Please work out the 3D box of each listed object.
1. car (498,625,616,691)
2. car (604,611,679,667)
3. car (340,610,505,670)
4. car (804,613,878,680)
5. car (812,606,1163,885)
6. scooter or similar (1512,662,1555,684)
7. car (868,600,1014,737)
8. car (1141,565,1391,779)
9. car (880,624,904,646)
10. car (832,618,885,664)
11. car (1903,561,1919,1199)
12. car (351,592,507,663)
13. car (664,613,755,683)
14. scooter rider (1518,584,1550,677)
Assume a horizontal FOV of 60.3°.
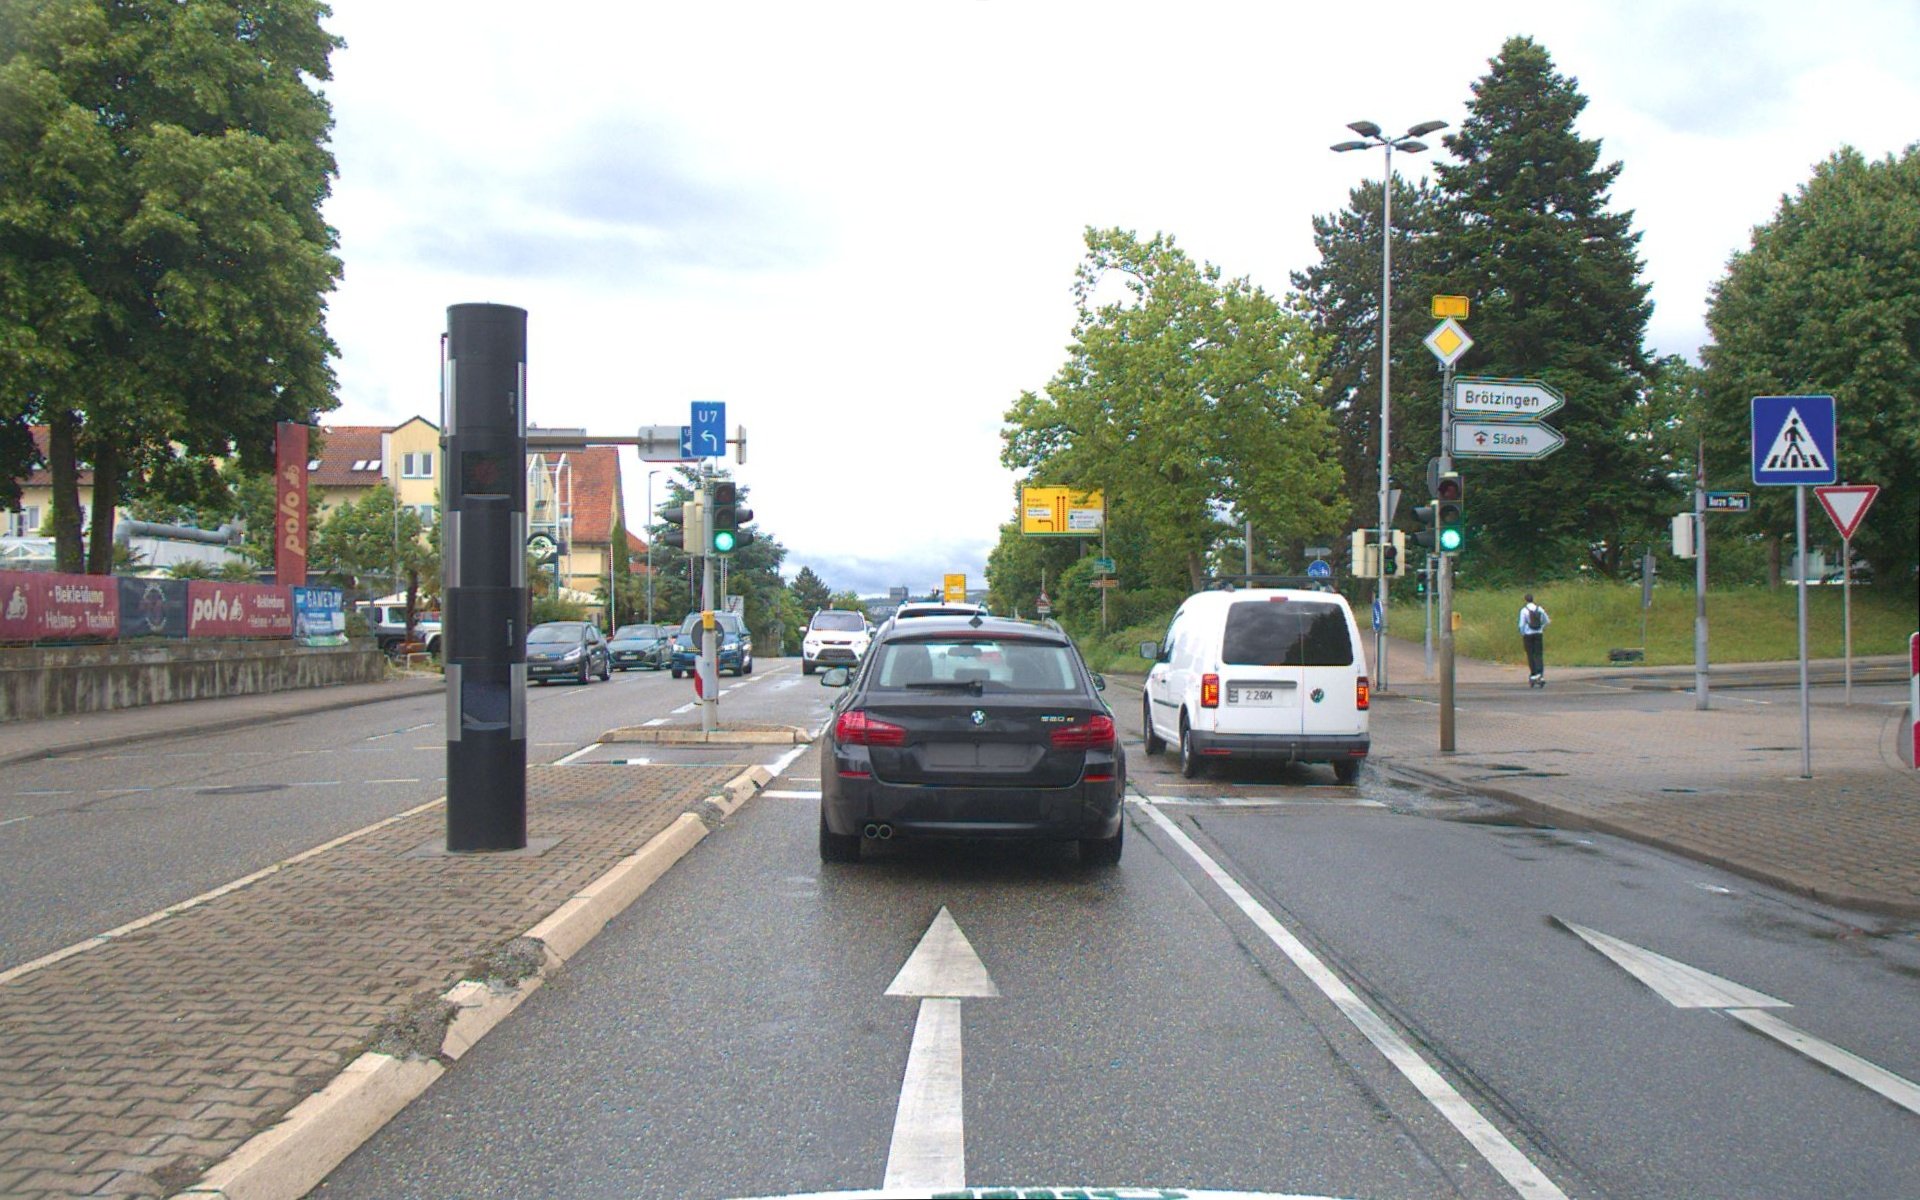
[{"bbox_3d":[-9.483,1.329,39.239,1.878,1.403,4.123,-2,0,-2],"label":"car"},{"bbox_3d":[-10.013,1.192,52.199,1.642,1.646,3.999,-1,0,-1],"label":"car"},{"bbox_3d":[-17.895,1.325,55.141,4.942,1.732,1.980,-2,-3,-29],"label":"car"},{"bbox_3d":[-3.142,1.205,44.481,1.802,1.678,4.295,0,0,-2],"label":"car"},{"bbox_3d":[0.133,0.826,10.836,1.860,1.467,3.999,1,-1,-1],"label":"car"},{"bbox_3d":[12.455,1.578,35.960,0.477,0.410,1.255,0,0,-1],"label":"scooter or similar"},{"bbox_3d":[-0.257,0.863,22.892,1.830,1.703,3.999,1,0,-1],"label":"car"},{"bbox_3d":[2.973,0.652,16.841,1.729,1.910,3.804,1,0,-2],"label":"car"},{"bbox_3d":[-5.539,2.835,135.686,1.830,1.703,3.999,1,0,-1],"label":"car"},{"bbox_3d":[-3.285,1.358,54.123,1.599,1.459,4.142,0,-2,-2],"label":"car"},{"bbox_3d":[3.072,0.721,1.877,1.711,1.637,3.979,1,-1,-1],"label":"car"},{"bbox_3d":[-16.703,0.844,52.046,4.339,2.049,1.980,-2,-1,-30],"label":"car"},{"bbox_3d":[-6.454,1.203,43.003,1.802,1.678,4.295,-2,0,-2],"label":"car"},{"bbox_3d":[12.470,0.649,35.921,0.490,2.000,0.547,0,0,-1],"label":"scooter rider"}]
